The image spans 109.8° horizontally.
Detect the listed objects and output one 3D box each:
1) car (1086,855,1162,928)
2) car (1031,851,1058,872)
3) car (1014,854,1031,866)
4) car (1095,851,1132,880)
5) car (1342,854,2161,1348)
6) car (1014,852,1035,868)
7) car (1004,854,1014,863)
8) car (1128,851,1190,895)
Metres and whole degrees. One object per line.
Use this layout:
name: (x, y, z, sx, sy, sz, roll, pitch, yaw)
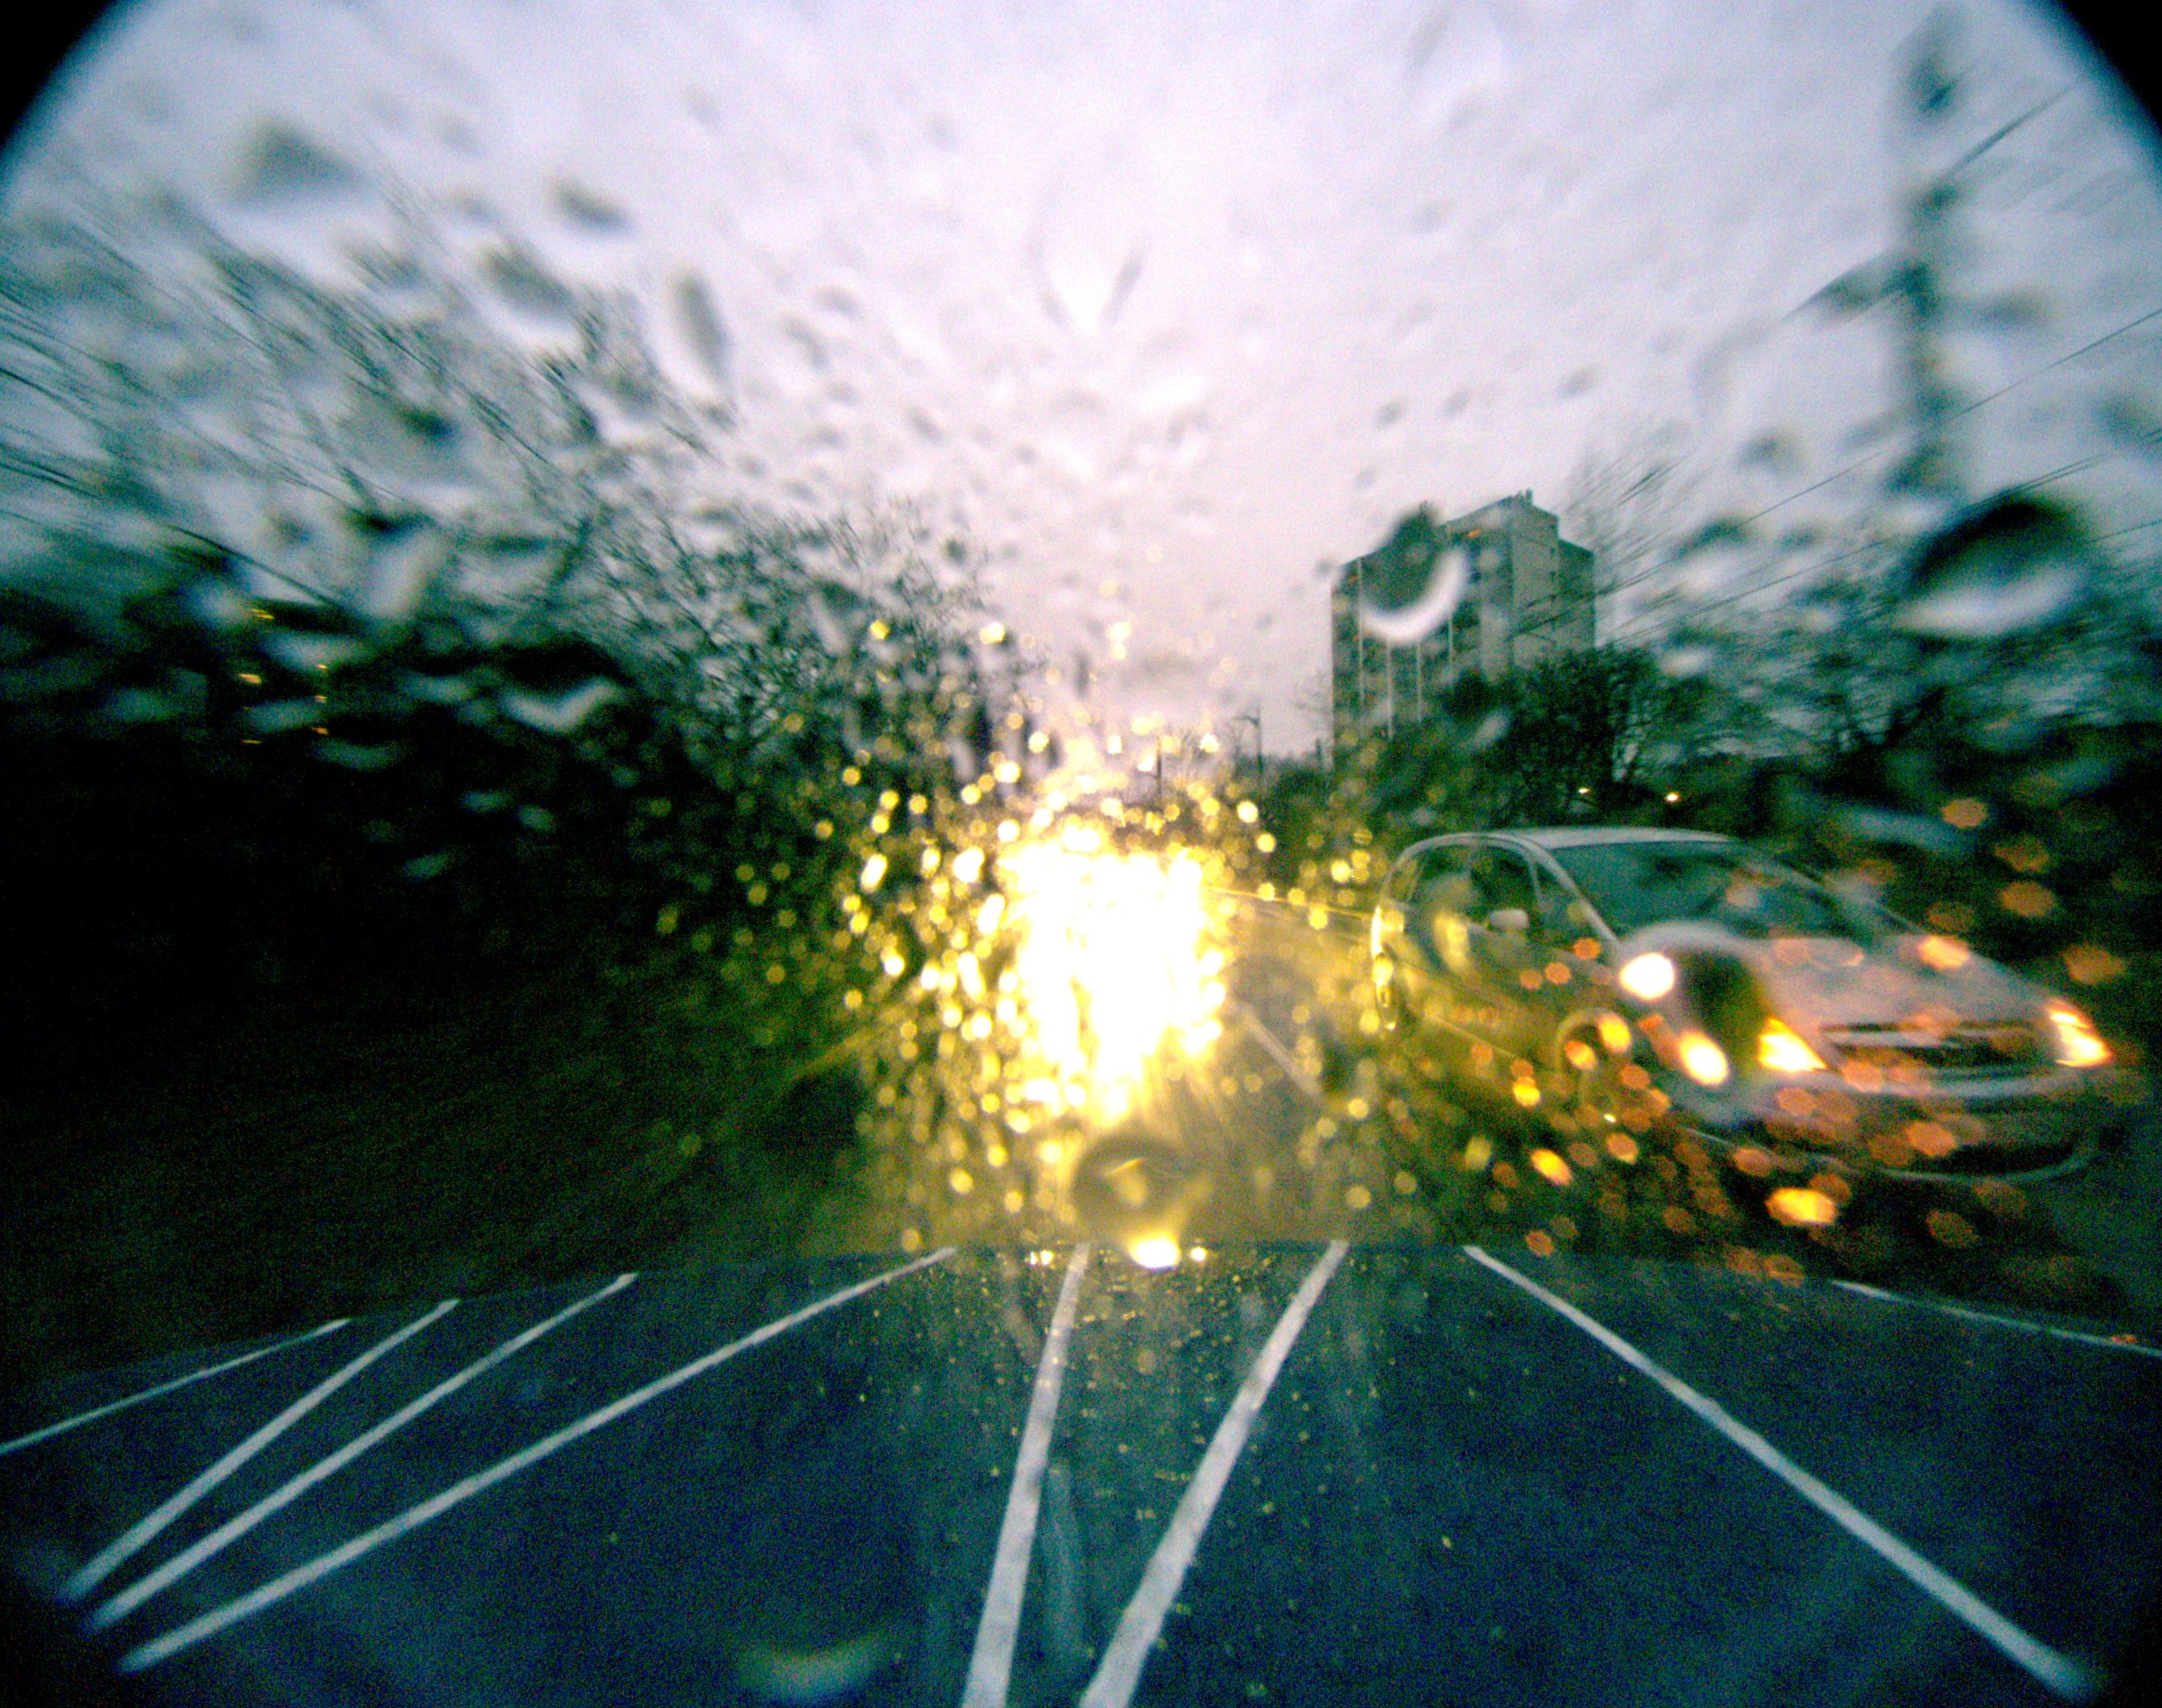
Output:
car: (0.988, 0.835, 18.991, 1.679, 1.590, 4.045, -1, 0, 1)
car: (-2.870, 0.580, 60.831, 1.953, 1.590, 4.124, -1, 0, -1)
car: (-7.773, 0.751, 101.222, 1.953, 1.590, 4.123, -1, 0, -2)
car: (1.844, 0.618, 44.311, 1.953, 1.590, 4.124, -1, 0, -1)
car: (3.126, 0.801, 4.544, 1.694, 1.530, 4.190, -2, 0, 1)
car: (-5.705, 0.570, 76.648, 1.953, 1.590, 4.123, -1, 0, -2)
car: (-14.500, 0.894, 153.169, 1.954, 1.590, 4.122, -1, 0, -6)
car: (2.974, 0.695, 29.908, 1.953, 1.590, 4.124, -1, 0, -1)
